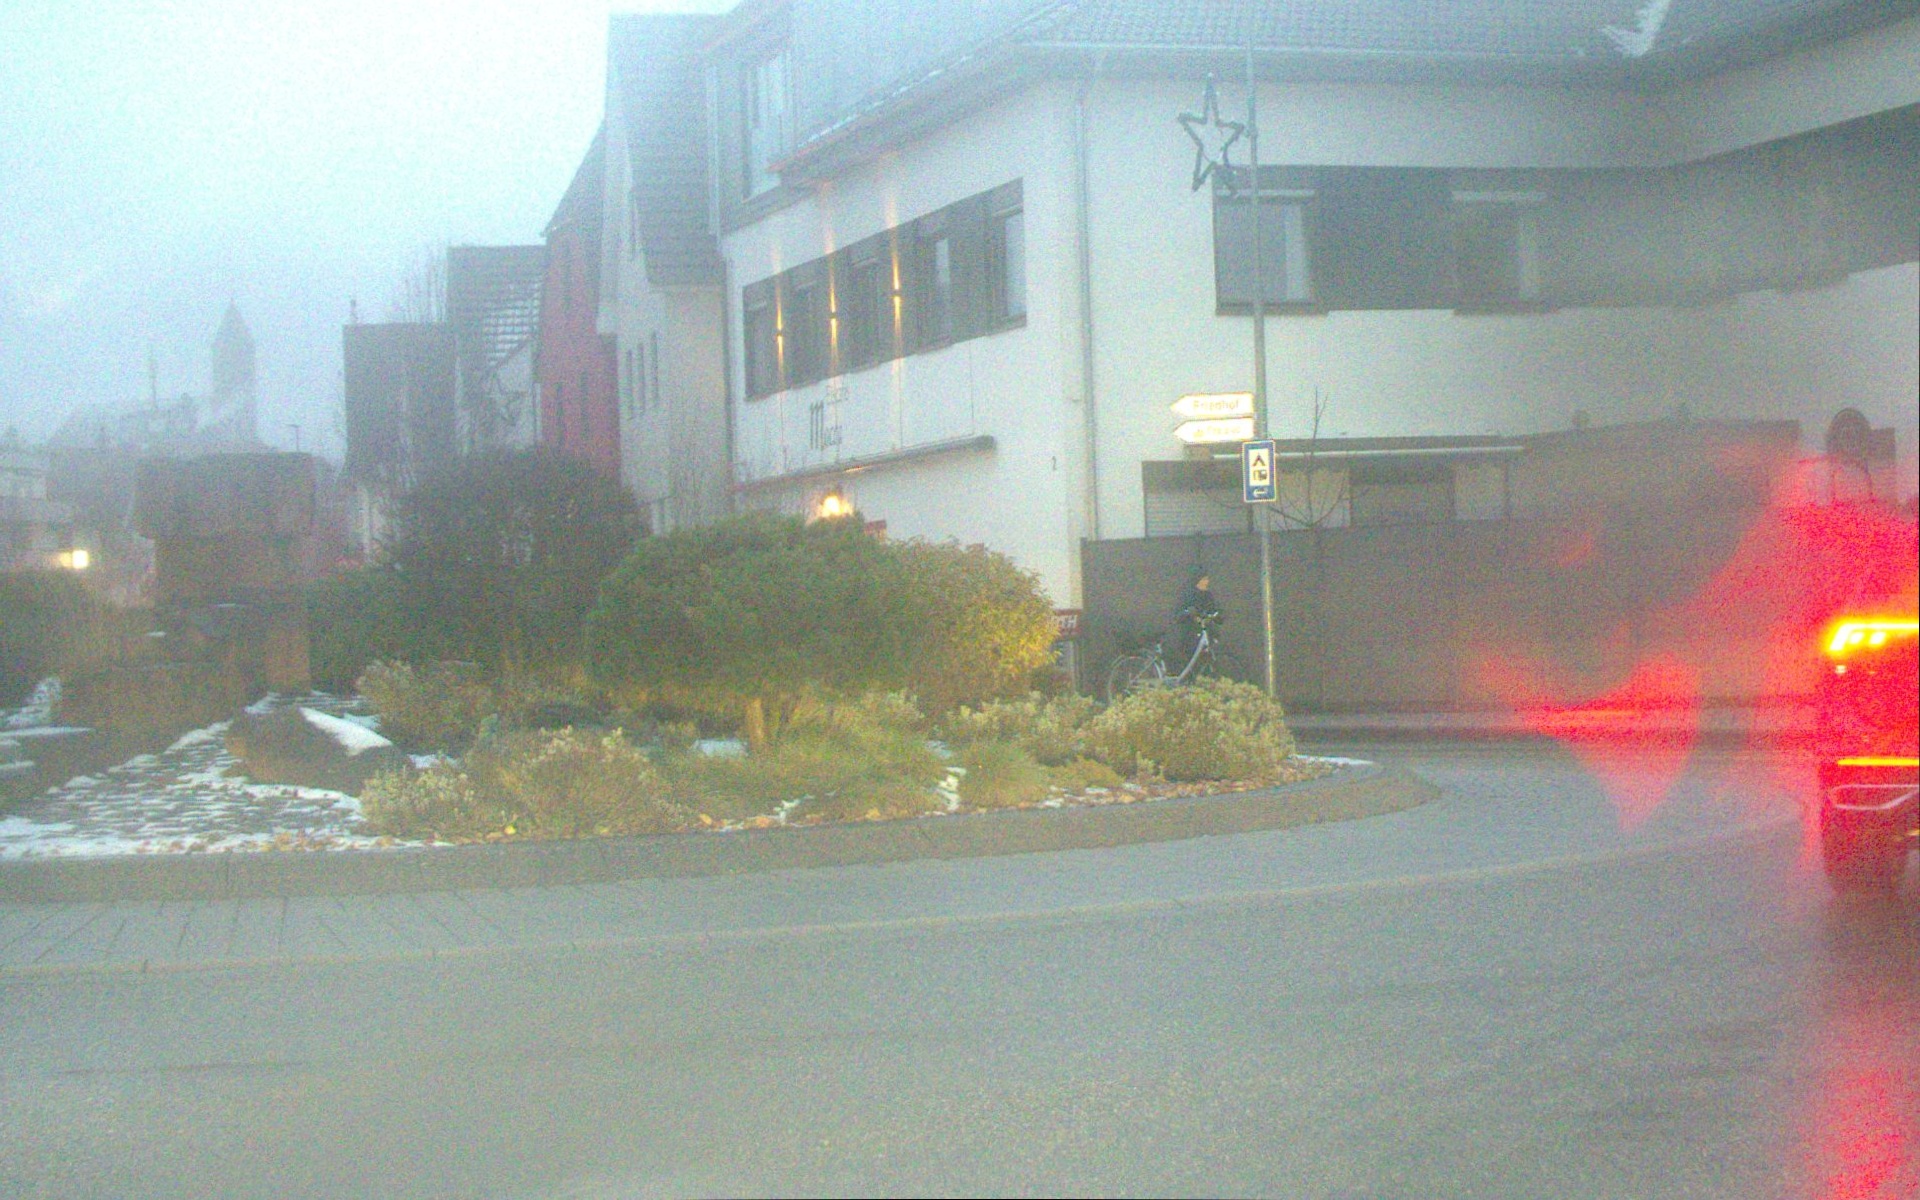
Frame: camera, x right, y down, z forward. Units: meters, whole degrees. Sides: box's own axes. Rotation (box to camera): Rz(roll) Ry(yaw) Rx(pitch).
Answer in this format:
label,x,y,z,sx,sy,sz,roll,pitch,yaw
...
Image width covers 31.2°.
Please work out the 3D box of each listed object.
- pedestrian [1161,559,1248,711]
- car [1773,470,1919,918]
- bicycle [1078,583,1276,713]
label,x,y,z,sx,sy,sz,roll,pitch,yaw
pedestrian,2.555,0.366,35.923,0.690,1.559,0.609,-1,1,26
car,4.591,0.291,14.031,1.918,1.610,3.946,-1,1,21
bicycle,2.242,0.499,35.582,1.939,1.291,0.551,-1,2,25
